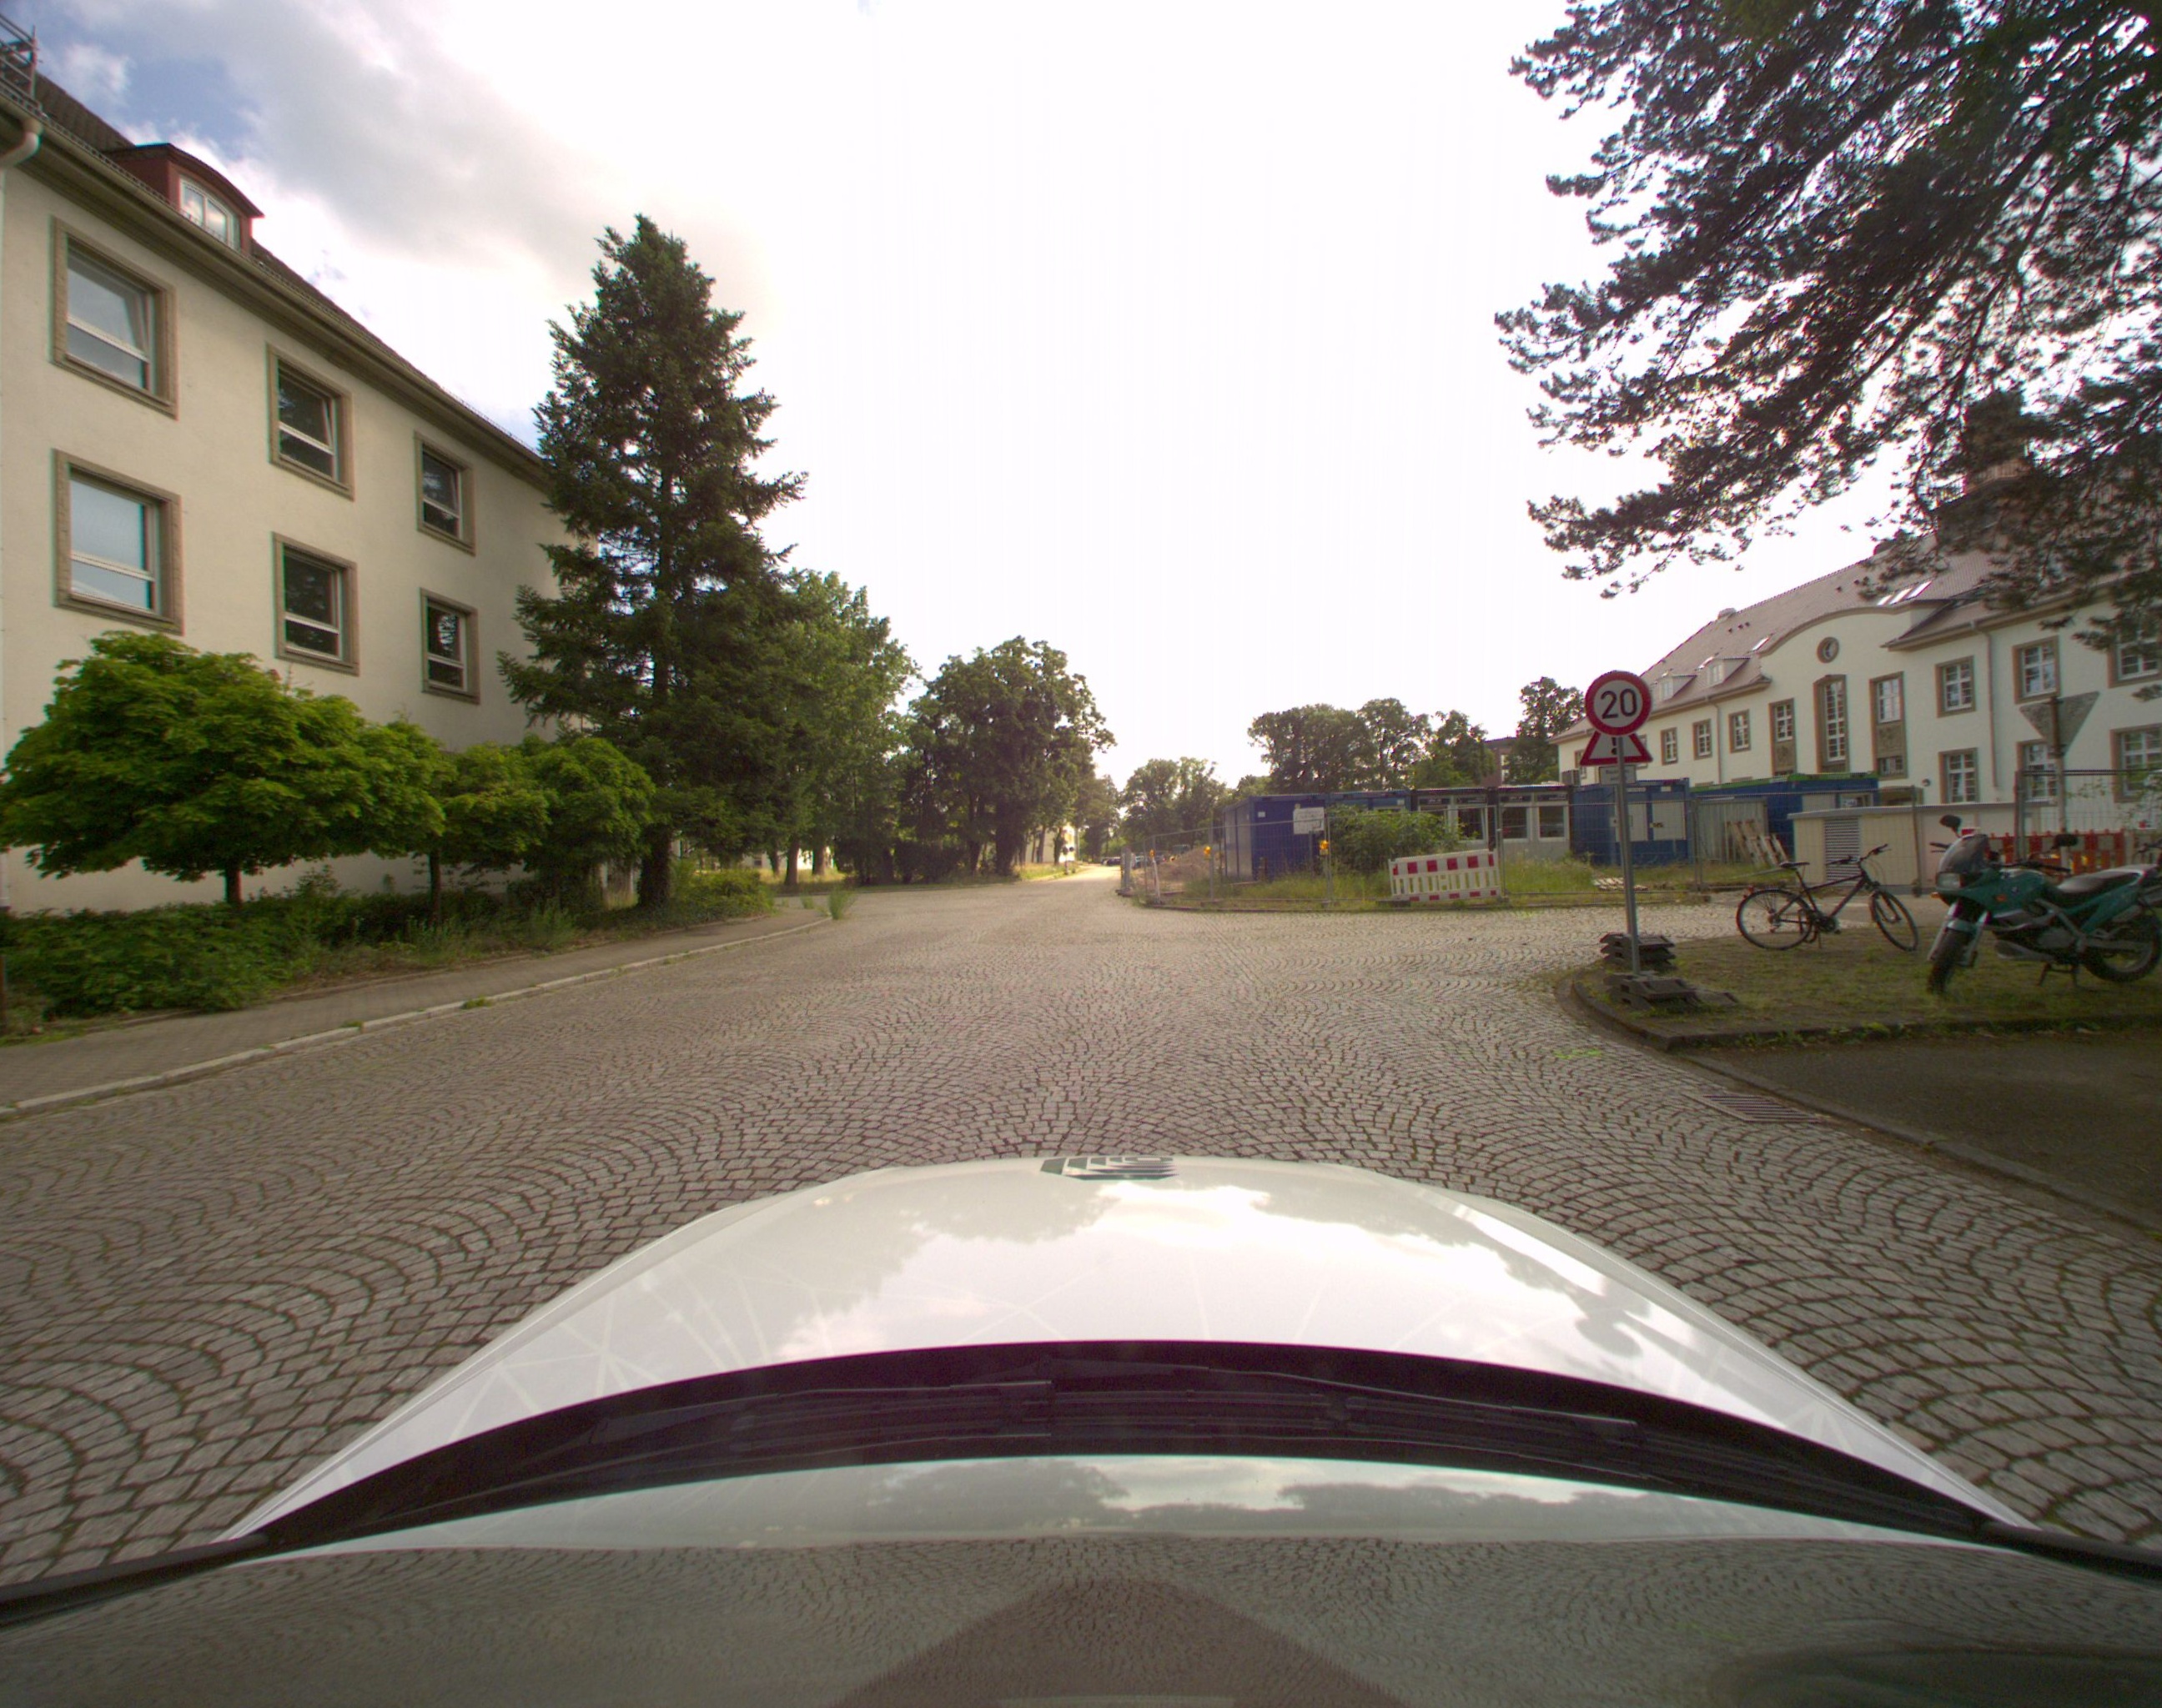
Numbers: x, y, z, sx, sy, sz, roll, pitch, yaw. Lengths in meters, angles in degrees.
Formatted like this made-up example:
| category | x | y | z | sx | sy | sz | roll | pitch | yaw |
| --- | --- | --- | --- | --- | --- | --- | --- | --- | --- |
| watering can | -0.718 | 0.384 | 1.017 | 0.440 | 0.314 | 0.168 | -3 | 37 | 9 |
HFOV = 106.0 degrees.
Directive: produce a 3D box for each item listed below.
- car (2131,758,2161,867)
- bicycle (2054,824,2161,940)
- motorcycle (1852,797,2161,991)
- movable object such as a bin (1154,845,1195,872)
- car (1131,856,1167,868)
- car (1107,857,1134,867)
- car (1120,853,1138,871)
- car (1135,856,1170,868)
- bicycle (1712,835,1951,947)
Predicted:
| category | x | y | z | sx | sy | sz | roll | pitch | yaw |
| --- | --- | --- | --- | --- | --- | --- | --- | --- | --- |
| car | 26.270 | -1.005 | 16.755 | 1.984 | 2.556 | 5.918 | -1 | -1 | 5 |
| bicycle | 11.310 | 0.273 | 8.273 | 0.639 | 1.169 | 1.907 | -3 | 0 | 5 |
| motorcycle | 8.096 | 0.309 | 6.980 | 2.271 | 1.485 | 0.756 | -3 | 0 | -3 |
| movable object such as a bin | 9.332 | 0.439 | 81.057 | 2.108 | 2.593 | 4.821 | -2 | -1 | 32 |
| car | 8.801 | 1.034 | 105.211 | 4.375 | 1.510 | 2.006 | -1 | -1 | 10 |
| car | 7.198 | 1.442 | 149.920 | 4.769 | 1.641 | 1.998 | -2 | -1 | -3 |
| car | 5.754 | 0.975 | 98.107 | 1.986 | 2.014 | 4.092 | -2 | -1 | 1 |
| car | 9.481 | 1.046 | 107.932 | 4.375 | 1.510 | 2.006 | -1 | -1 | 10 |
| bicycle | 8.590 | 0.430 | 9.429 | 1.882 | 1.197 | 0.659 | -3 | 0 | 22 |
